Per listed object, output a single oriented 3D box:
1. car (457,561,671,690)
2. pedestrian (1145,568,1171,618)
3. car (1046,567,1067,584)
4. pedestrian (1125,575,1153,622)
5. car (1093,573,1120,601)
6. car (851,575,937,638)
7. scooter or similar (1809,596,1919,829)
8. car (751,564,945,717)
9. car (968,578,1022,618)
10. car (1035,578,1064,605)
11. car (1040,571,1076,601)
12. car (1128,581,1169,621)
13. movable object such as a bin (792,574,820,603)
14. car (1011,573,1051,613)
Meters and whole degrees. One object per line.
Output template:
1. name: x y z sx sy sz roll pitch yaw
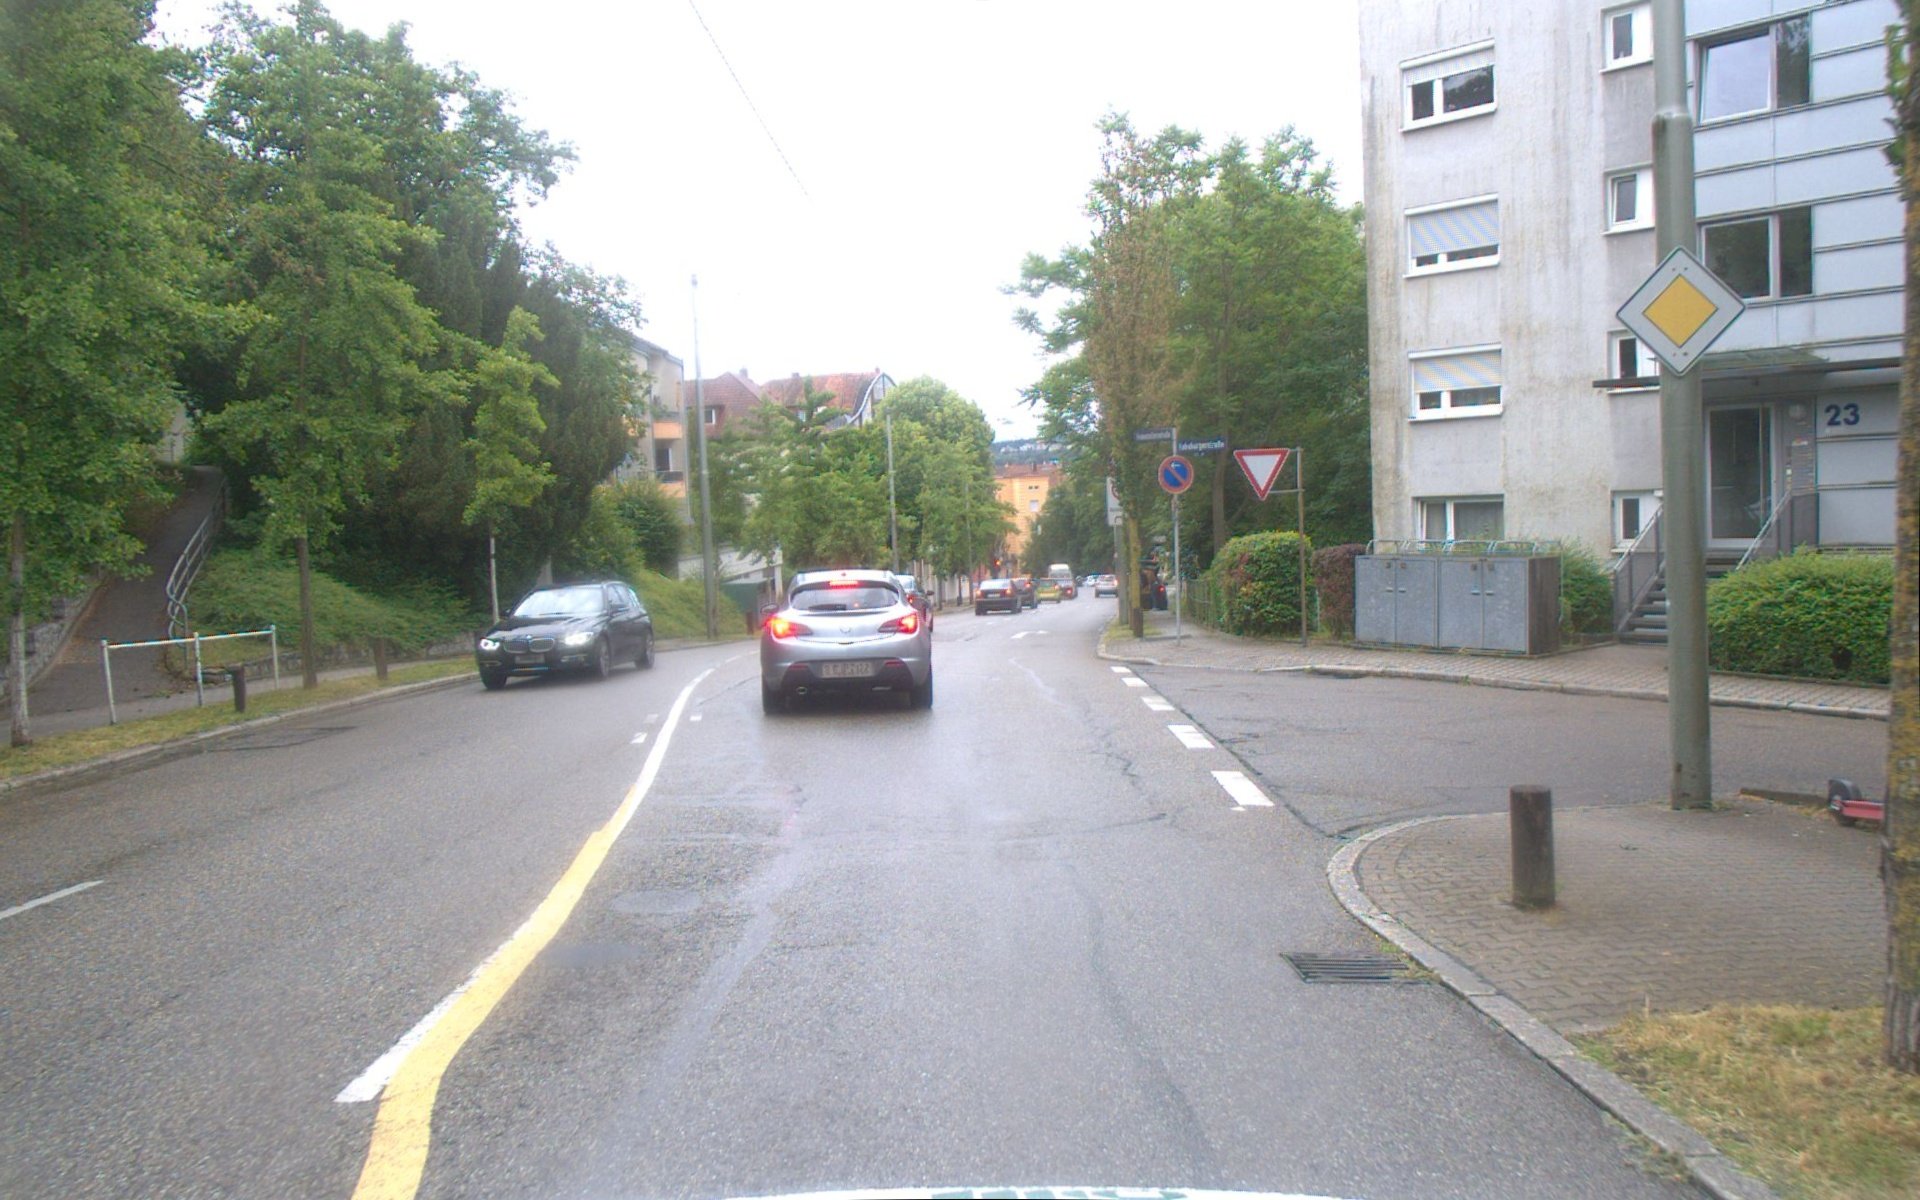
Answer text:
1. car: -5.871 0.346 25.135 1.872 1.612 4.588 -5 0 2
2. pedestrian: 7.705 -0.263 64.331 0.653 1.868 0.685 -5 0 -19
3. car: 10.026 -2.557 171.589 1.951 1.815 4.003 1 1 7
4. pedestrian: 6.964 -0.069 64.307 0.724 1.753 0.761 -5 0 -19
5. car: 11.227 -1.026 126.431 1.951 2.071 4.739 1 1 6
6. car: -1.515 0.116 39.285 1.760 1.346 4.001 -1 1 1
7. scooter or similar: 5.408 0.623 9.535 0.336 1.276 1.267 0 -1 -2
8. car: -1.145 0.370 18.565 1.906 1.456 3.884 -2 1 -1
9. car: 1.450 -0.099 67.124 1.919 1.498 3.953 1 1 4
10. car: 5.633 -0.523 103.626 1.717 1.680 4.002 1 0 4
11. car: 7.050 -1.014 118.094 2.284 2.071 4.739 1 1 7
12. car: 7.572 0.034 66.564 1.472 1.460 4.002 -3 0 5
13. movable object such as a bin: -7.476 -0.557 80.342 1.245 1.411 0.489 -1 1 4
14. car: 3.391 -0.361 78.818 1.731 1.812 3.979 1 1 4
